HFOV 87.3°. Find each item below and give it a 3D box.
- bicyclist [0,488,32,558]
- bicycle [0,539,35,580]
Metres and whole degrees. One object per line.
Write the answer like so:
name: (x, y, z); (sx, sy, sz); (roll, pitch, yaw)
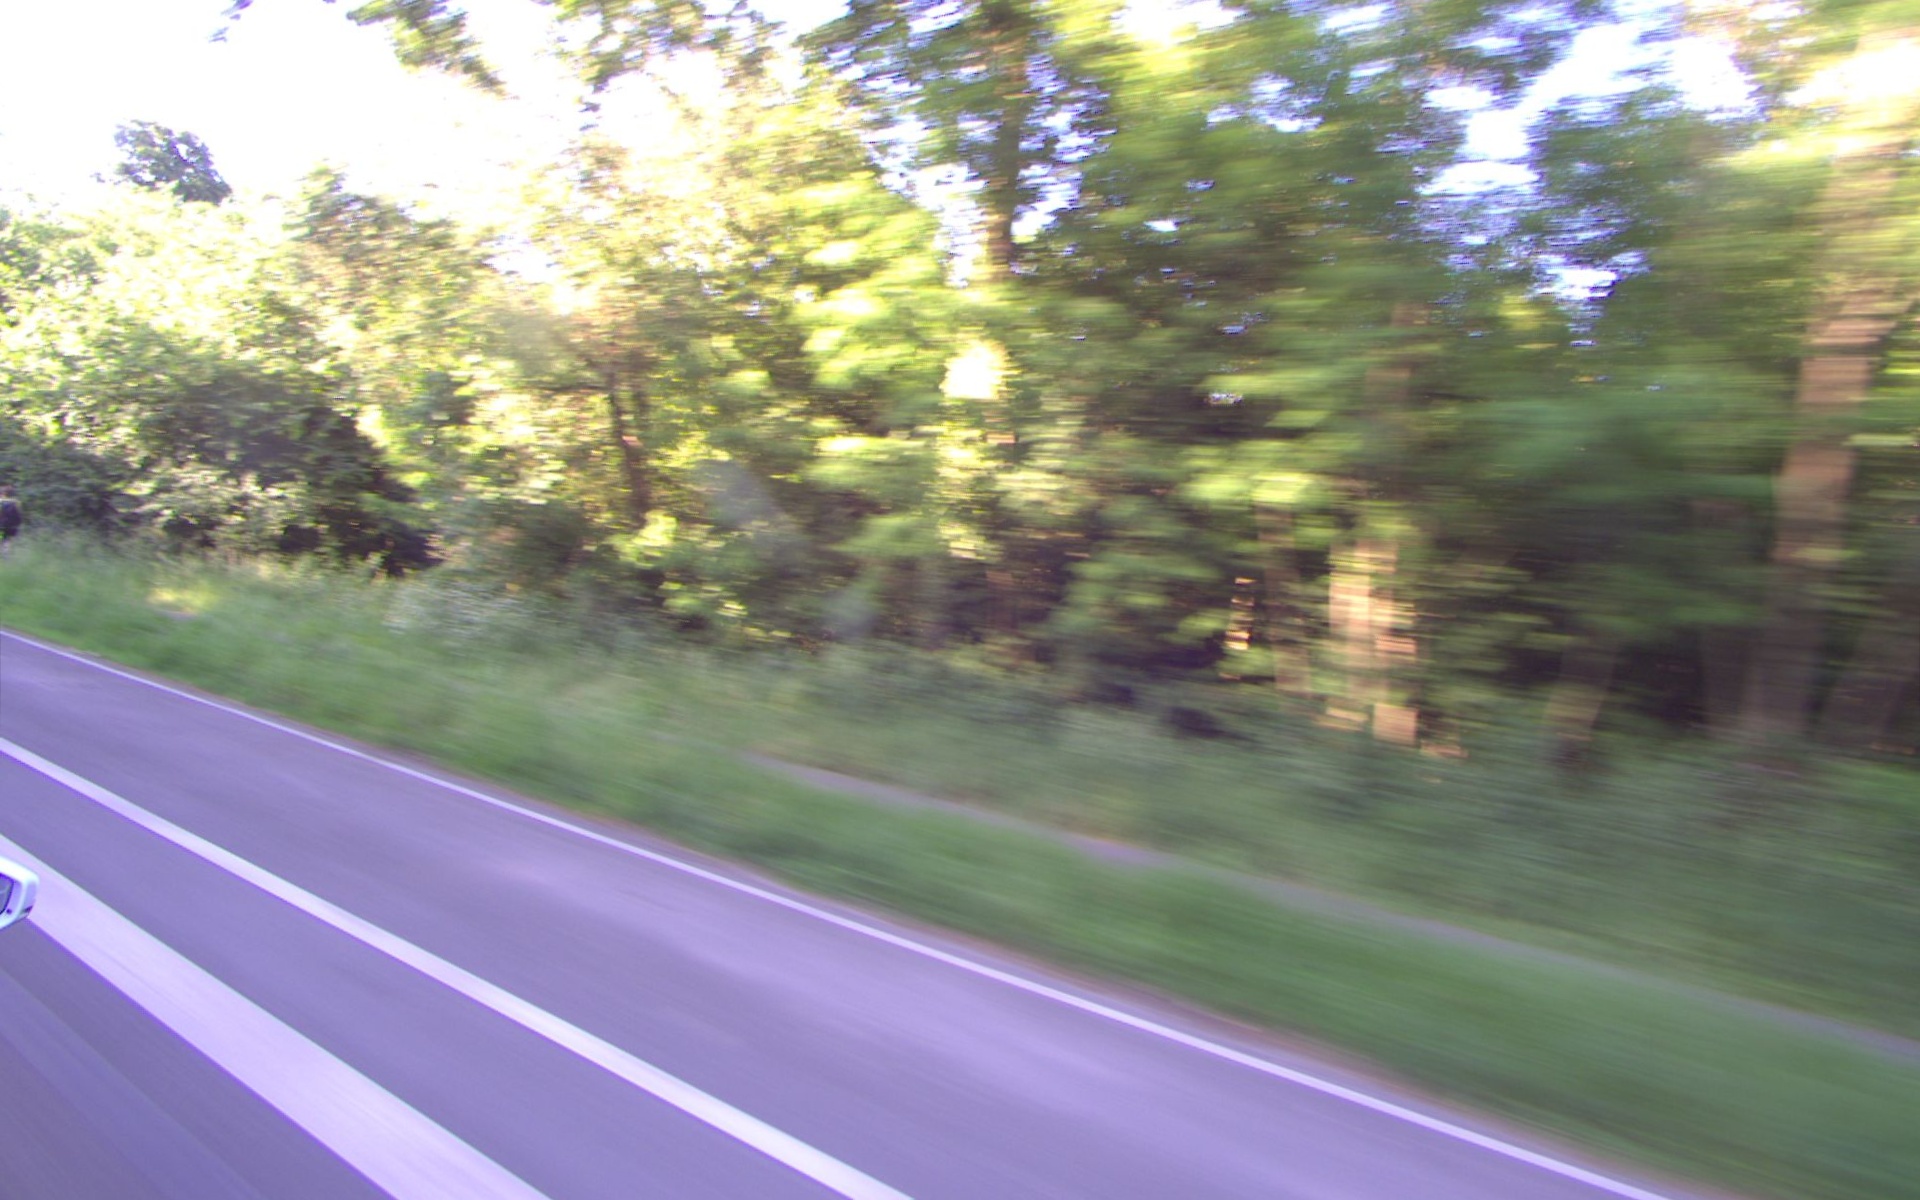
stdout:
bicyclist: (-19.659, -1.605, 20.574); (1.156, 1.340, 0.611); (7, 0, 32)
bicycle: (-19.710, -0.873, 20.585); (1.963, 0.700, 0.592); (7, -1, 32)
